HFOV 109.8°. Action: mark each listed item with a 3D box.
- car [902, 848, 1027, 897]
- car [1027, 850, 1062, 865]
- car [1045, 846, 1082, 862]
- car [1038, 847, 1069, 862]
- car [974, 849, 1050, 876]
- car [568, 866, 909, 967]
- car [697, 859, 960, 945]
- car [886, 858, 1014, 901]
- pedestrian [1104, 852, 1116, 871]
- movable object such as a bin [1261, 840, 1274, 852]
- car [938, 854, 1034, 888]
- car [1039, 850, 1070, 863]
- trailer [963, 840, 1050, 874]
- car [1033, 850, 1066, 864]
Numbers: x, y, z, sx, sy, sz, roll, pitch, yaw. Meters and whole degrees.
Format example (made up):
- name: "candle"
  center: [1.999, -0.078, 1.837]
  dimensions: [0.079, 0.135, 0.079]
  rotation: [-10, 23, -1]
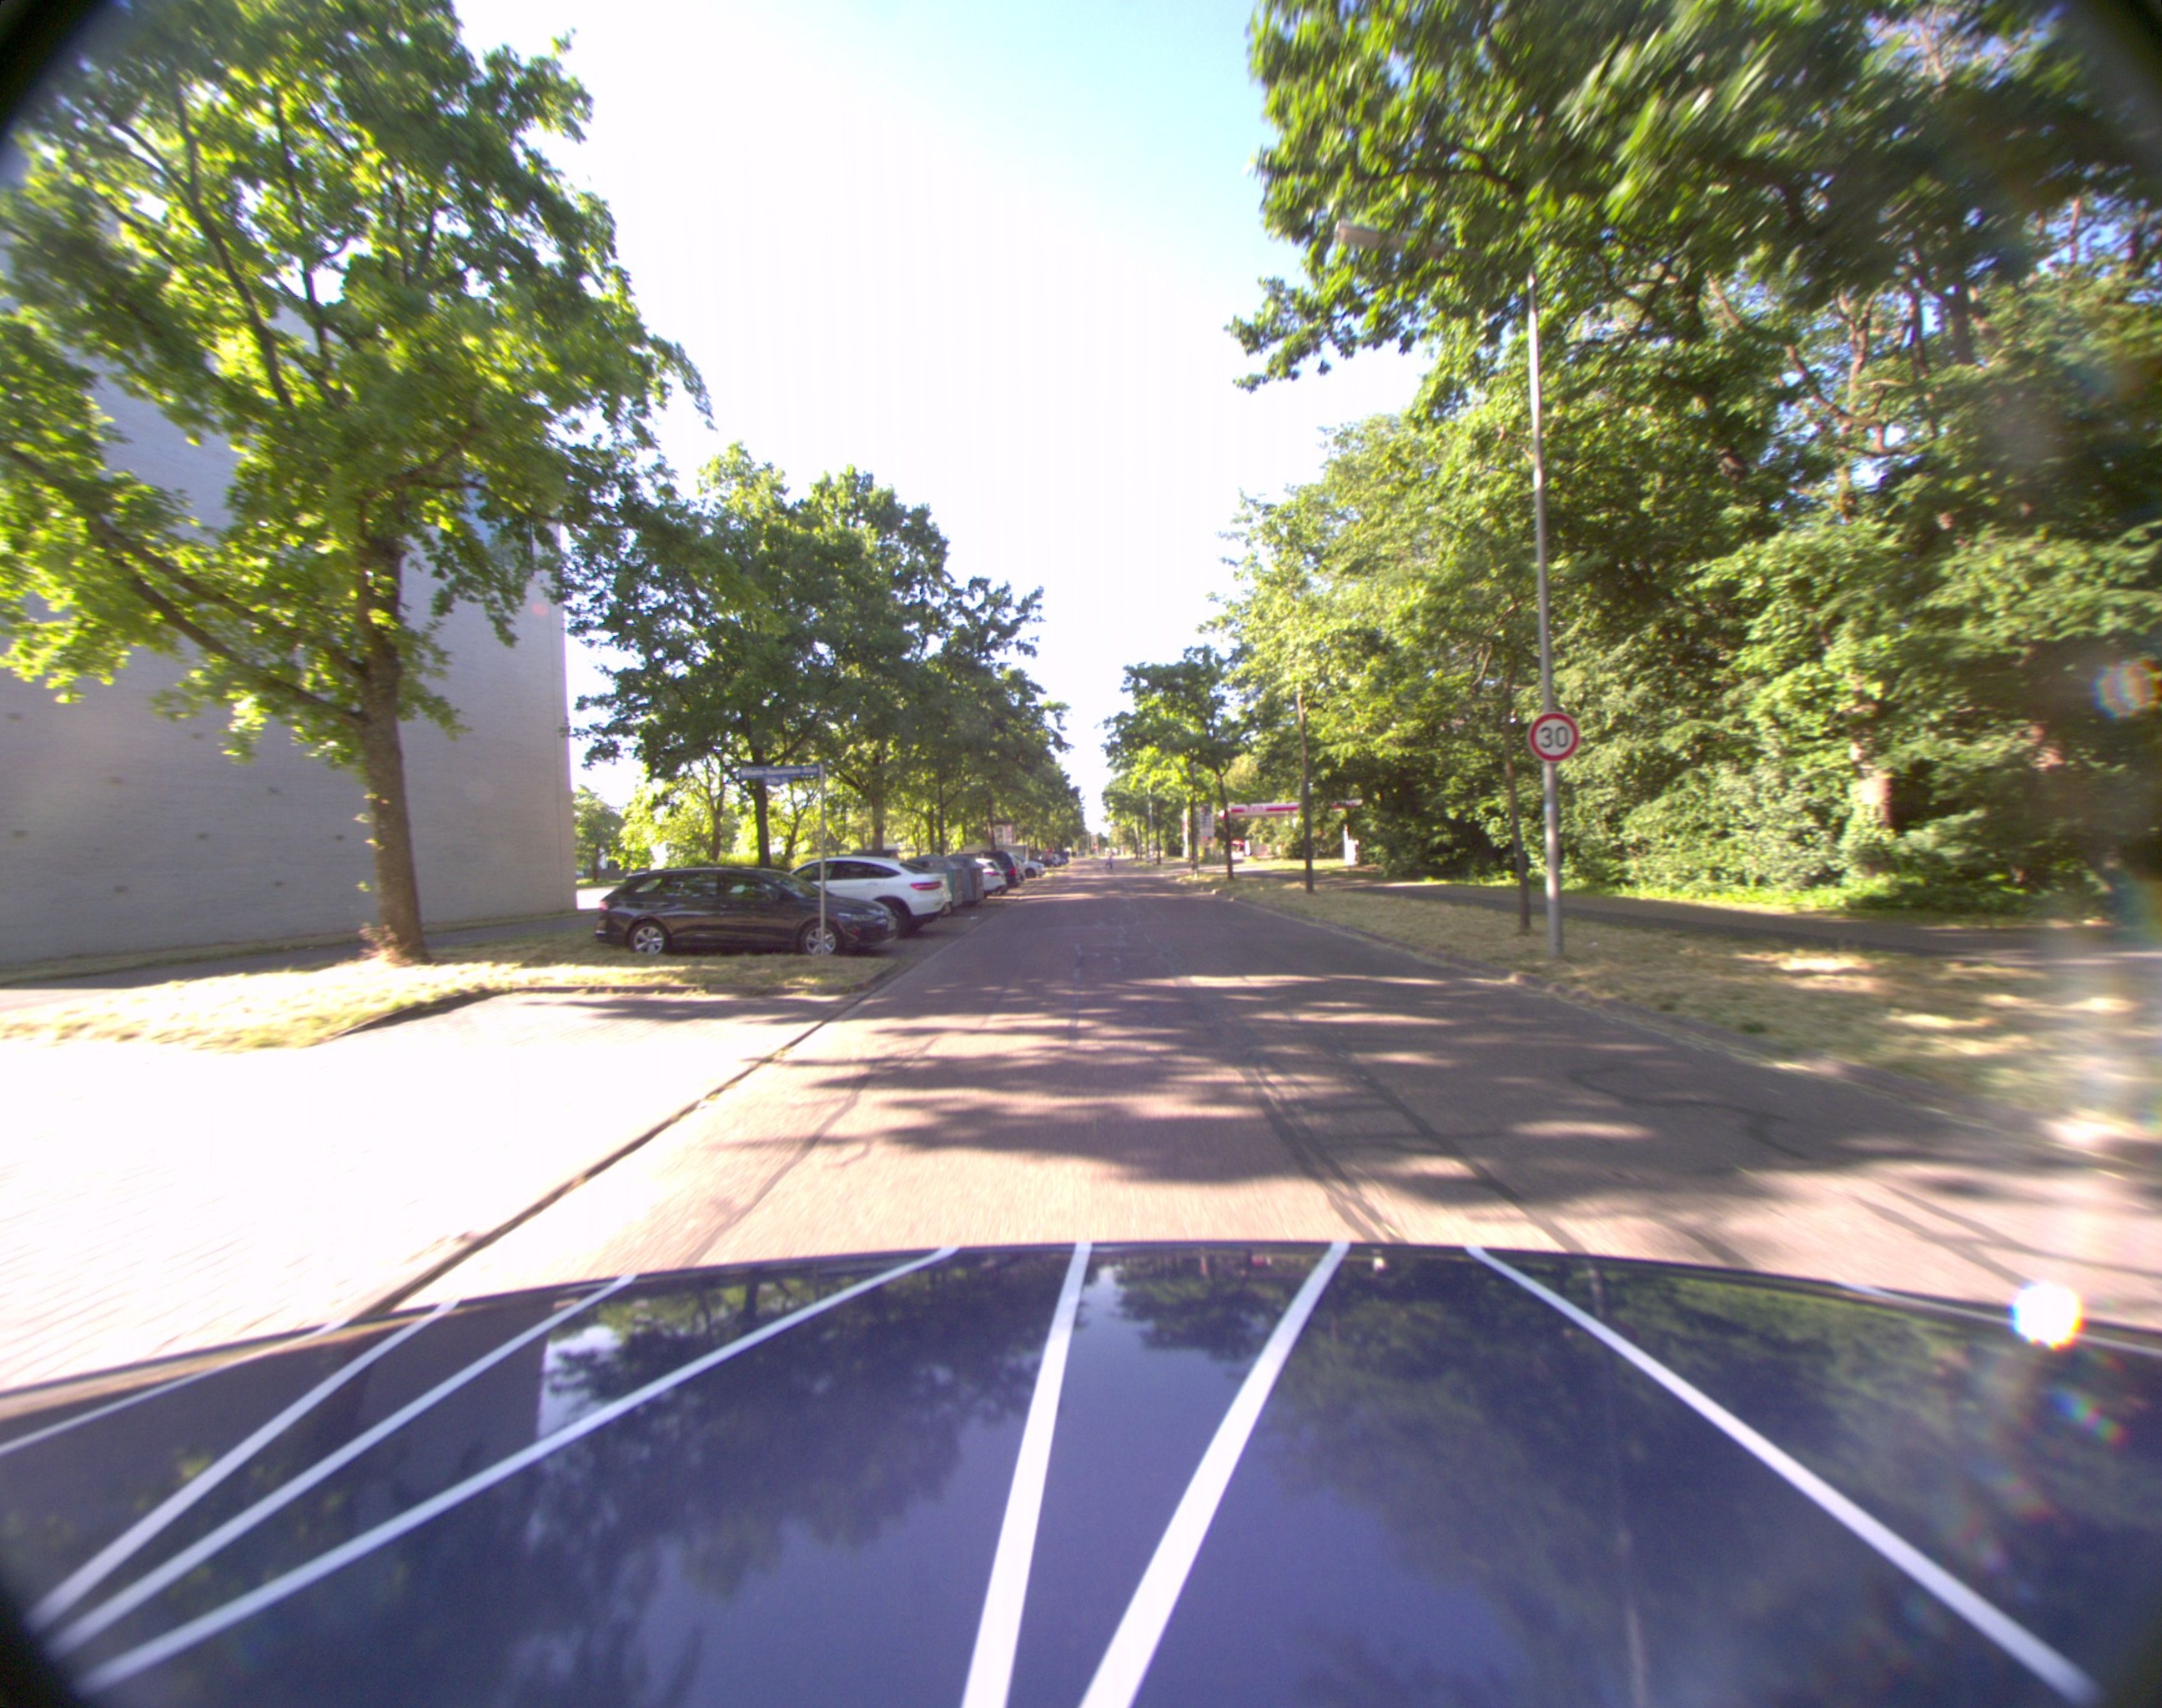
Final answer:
- name: "car"
  center: [-4.501, 0.689, 29.763]
  dimensions: [4.541, 1.791, 1.936]
  rotation: [-1, 1, 1]
- name: "car"
  center: [-3.914, 0.374, 81.912]
  dimensions: [3.592, 1.567, 1.857]
  rotation: [-1, 1, 0]
- name: "car"
  center: [-2.290, -0.068, 101.357]
  dimensions: [4.815, 2.020, 1.944]
  rotation: [-1, 1, 0]
- name: "car"
  center: [-3.613, 0.060, 99.350]
  dimensions: [4.019, 1.826, 1.799]
  rotation: [-1, 1, -2]
- name: "car"
  center: [-4.427, 0.533, 49.387]
  dimensions: [4.653, 1.712, 1.987]
  rotation: [0, 1, 2]
- name: "car"
  center: [-5.397, 0.967, 12.450]
  dimensions: [4.682, 1.447, 1.916]
  rotation: [-1, 0, 0]
- name: "car"
  center: [-4.977, 0.924, 15.467]
  dimensions: [4.682, 1.571, 1.917]
  rotation: [-1, 0, 1]
- name: "car"
  center: [-4.659, 0.898, 27.348]
  dimensions: [4.231, 1.463, 1.800]
  rotation: [-1, 0, 2]
- name: "pedestrian"
  center: [2.452, 0.625, 63.758]
  dimensions: [0.942, 1.491, 0.885]
  rotation: [-1, 0, 2]
- name: "movable object such as a bin"
  center: [24.551, -0.993, 100.087]
  dimensions: [1.307, 1.533, 1.268]
  rotation: [-2, 1, 1]
- name: "car"
  center: [-4.513, 0.776, 36.429]
  dimensions: [4.255, 1.510, 2.078]
  rotation: [-1, 1, 2]
- name: "car"
  center: [-3.163, 0.285, 91.509]
  dimensions: [3.529, 1.523, 1.665]
  rotation: [-1, 1, 2]
- name: "trailer"
  center: [-5.066, 0.215, 52.189]
  dimensions: [5.788, 2.304, 1.686]
  rotation: [0, 1, 3]
- name: "car"
  center: [-3.614, 0.336, 86.841]
  dimensions: [3.592, 1.567, 1.786]
  rotation: [-1, 1, 2]
